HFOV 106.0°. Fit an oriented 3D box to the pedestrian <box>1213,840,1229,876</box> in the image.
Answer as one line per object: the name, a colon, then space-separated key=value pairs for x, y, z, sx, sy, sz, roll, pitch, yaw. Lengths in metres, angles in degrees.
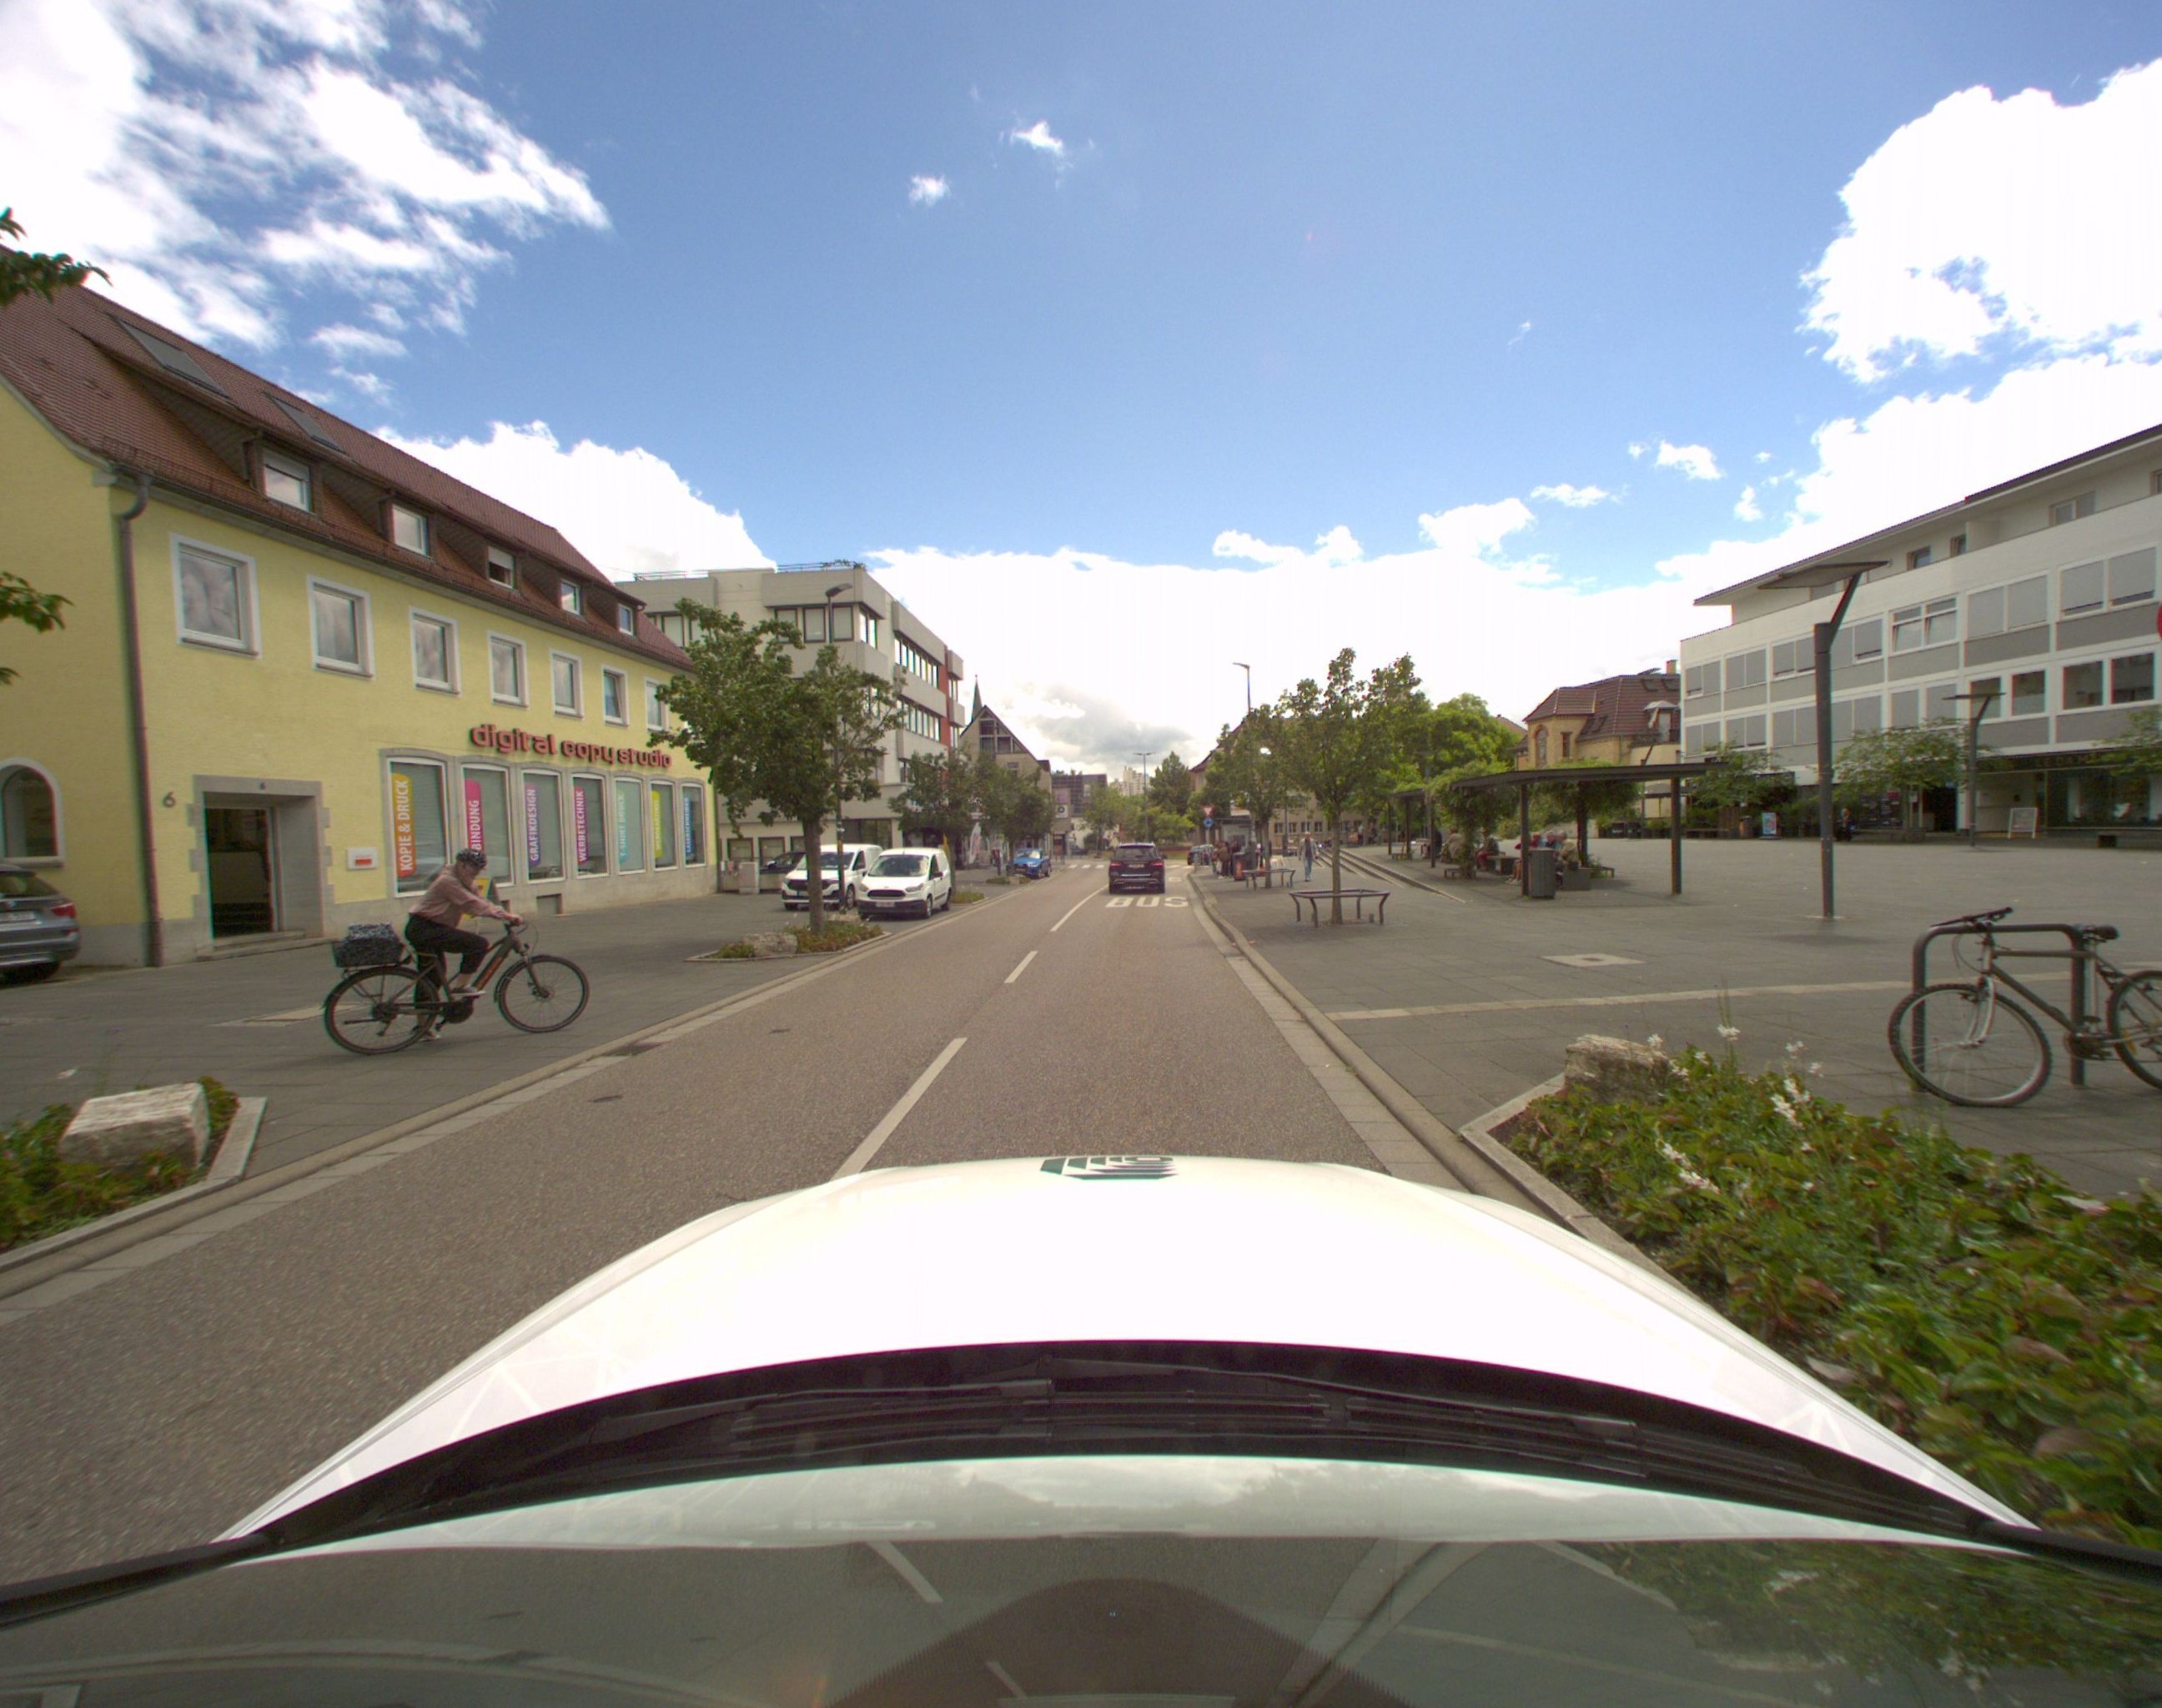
pedestrian: x=6.236 y=0.190 z=36.303 sx=0.500 sy=1.566 sz=0.495 roll=-3 pitch=0 yaw=-13

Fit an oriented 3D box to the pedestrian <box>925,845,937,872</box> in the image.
pedestrian: x=-8.734 y=0.270 z=47.462 sx=0.507 sy=1.566 sz=0.587 roll=-3 pitch=0 yaw=6

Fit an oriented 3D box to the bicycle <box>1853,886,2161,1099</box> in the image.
bicycle: x=5.224 y=0.730 z=4.462 sx=1.723 sy=0.996 sz=0.345 roll=-3 pitch=0 yaw=-4

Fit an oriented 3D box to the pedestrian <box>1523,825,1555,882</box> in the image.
pedestrian: x=10.953 y=-0.018 z=19.466 sx=0.495 sy=1.320 sz=0.526 roll=-2 pitch=2 yaw=10

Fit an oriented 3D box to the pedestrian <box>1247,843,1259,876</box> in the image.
pedestrian: x=7.106 y=0.229 z=33.596 sx=0.387 sy=1.306 sz=0.355 roll=-4 pitch=0 yaw=7

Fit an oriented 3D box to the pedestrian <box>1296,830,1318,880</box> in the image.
pedestrian: x=7.777 y=0.039 z=28.027 sx=0.679 sy=1.682 sz=0.717 roll=-2 pitch=0 yaw=16

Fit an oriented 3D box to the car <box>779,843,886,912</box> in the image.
car: x=-7.093 y=0.600 z=23.723 sx=1.751 sy=1.814 sz=4.476 roll=0 pitch=0 yaw=0

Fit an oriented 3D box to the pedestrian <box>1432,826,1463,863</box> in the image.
pedestrian: x=13.012 y=-0.341 z=28.899 sx=0.680 sy=1.269 sz=0.762 roll=-1 pitch=1 yaw=-39

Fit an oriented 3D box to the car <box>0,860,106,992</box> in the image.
car: x=-15.441 y=0.951 z=10.540 sx=3.515 sy=1.650 sz=1.733 roll=-1 pitch=1 yaw=1

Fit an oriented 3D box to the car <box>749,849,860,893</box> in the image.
car: x=-10.438 y=0.627 z=30.933 sx=3.618 sy=1.558 sz=1.667 roll=-1 pitch=0 yaw=-2

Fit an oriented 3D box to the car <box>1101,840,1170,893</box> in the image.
car: x=1.862 y=0.464 z=29.150 sx=2.022 sy=1.727 sz=4.429 roll=-1 pitch=-1 yaw=-2

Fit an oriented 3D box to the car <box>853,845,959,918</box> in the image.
car: x=-4.380 y=0.629 z=20.985 sx=1.650 sy=1.672 sz=4.352 roll=0 pitch=0 yaw=2

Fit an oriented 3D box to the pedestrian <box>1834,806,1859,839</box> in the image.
pedestrian: x=30.525 y=-1.255 z=32.481 sx=0.570 sy=1.323 sz=0.541 roll=-1 pitch=1 yaw=-21

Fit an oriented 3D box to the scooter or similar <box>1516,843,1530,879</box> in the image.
scooter or similar: x=11.472 y=0.181 z=21.131 sx=0.246 sy=0.894 sz=0.510 roll=-1 pitch=3 yaw=36

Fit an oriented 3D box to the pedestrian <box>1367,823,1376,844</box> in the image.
pedestrian: x=17.400 y=-1.231 z=48.736 sx=0.360 sy=1.285 sz=0.643 roll=-2 pitch=1 yaw=10

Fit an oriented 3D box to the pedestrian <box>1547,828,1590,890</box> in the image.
pedestrian: x=10.837 y=0.102 z=18.115 sx=0.612 sy=1.320 sz=0.587 roll=-2 pitch=2 yaw=8

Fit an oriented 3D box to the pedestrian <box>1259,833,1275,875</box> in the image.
pedestrian: x=7.673 y=-0.009 z=33.536 sx=0.509 sy=1.680 sz=0.577 roll=-3 pitch=0 yaw=5

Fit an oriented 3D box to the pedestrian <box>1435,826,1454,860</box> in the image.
pedestrian: x=13.303 y=-0.409 z=29.805 sx=0.563 sy=1.227 sz=0.568 roll=-1 pitch=1 yaw=15

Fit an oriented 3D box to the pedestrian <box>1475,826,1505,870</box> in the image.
pedestrian: x=12.390 y=-0.182 z=24.681 sx=0.620 sy=1.307 sz=0.547 roll=-3 pitch=1 yaw=9

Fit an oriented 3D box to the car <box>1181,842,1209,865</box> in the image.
car: x=8.582 y=-0.057 z=61.472 sx=2.041 sy=1.588 sz=4.382 roll=1 pitch=1 yaw=7

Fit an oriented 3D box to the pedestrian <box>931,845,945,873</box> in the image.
pedestrian: x=-8.231 y=0.262 z=46.878 sx=0.640 sy=1.566 sz=0.587 roll=-3 pitch=0 yaw=2

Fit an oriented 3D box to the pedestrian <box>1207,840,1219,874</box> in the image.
pedestrian: x=6.356 y=0.129 z=39.240 sx=0.383 sy=1.619 sz=0.471 roll=-4 pitch=0 yaw=20

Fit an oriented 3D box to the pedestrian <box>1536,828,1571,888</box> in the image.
pedestrian: x=10.919 y=0.086 z=18.823 sx=0.492 sy=1.320 sz=0.576 roll=-2 pitch=2 yaw=9

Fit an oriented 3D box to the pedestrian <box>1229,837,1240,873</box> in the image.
pedestrian: x=6.847 y=0.049 z=36.378 sx=0.391 sy=1.566 sz=0.353 roll=-3 pitch=0 yaw=6

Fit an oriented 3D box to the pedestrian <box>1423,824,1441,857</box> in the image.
pedestrian: x=14.066 y=-0.548 z=32.661 sx=0.563 sy=1.323 sz=0.547 roll=-1 pitch=1 yaw=15

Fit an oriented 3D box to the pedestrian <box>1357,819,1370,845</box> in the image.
pedestrian: x=16.768 y=-1.308 z=48.334 sx=0.503 sy=1.508 sz=0.452 roll=-2 pitch=1 yaw=-14

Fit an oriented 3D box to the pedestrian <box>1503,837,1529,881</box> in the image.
pedestrian: x=11.052 y=0.124 z=20.715 sx=0.473 sy=1.088 sz=0.369 roll=-2 pitch=2 yaw=9

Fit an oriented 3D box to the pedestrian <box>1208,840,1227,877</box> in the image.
pedestrian: x=5.716 y=0.190 z=34.070 sx=0.489 sy=1.549 sz=0.537 roll=-3 pitch=0 yaw=-41

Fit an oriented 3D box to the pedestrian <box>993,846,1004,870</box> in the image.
pedestrian: x=-5.527 y=0.284 z=54.407 sx=0.584 sy=1.588 sz=0.640 roll=0 pitch=0 yaw=6

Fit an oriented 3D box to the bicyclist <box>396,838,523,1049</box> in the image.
bicyclist: x=-5.371 y=0.733 z=7.085 sx=0.781 sy=1.695 sz=0.504 roll=-3 pitch=0 yaw=-34

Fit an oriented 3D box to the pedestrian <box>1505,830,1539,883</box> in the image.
pedestrian: x=10.960 y=0.049 z=20.243 sx=0.565 sy=1.262 sz=0.543 roll=-2 pitch=2 yaw=9

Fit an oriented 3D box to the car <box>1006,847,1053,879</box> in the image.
car: x=-2.733 y=0.452 z=44.210 sx=1.685 sy=1.599 sz=4.341 roll=1 pitch=1 yaw=8

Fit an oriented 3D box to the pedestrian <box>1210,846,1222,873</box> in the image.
pedestrian: x=6.388 y=0.261 z=38.637 sx=0.399 sy=1.226 sz=0.390 roll=-2 pitch=0 yaw=27

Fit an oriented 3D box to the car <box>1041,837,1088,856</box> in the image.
car: x=-2.314 y=-0.987 z=115.782 sx=6.298 sy=2.560 sz=2.194 roll=0 pitch=-2 yaw=-16

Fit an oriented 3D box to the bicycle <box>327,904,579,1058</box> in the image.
bicycle: x=-5.361 y=1.037 z=7.063 sx=1.661 sy=1.087 sz=0.409 roll=-2 pitch=-1 yaw=-36

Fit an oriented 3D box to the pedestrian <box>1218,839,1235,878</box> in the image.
pedestrian: x=6.032 y=0.181 z=33.725 sx=0.508 sy=1.549 sz=0.490 roll=-2 pitch=0 yaw=31
